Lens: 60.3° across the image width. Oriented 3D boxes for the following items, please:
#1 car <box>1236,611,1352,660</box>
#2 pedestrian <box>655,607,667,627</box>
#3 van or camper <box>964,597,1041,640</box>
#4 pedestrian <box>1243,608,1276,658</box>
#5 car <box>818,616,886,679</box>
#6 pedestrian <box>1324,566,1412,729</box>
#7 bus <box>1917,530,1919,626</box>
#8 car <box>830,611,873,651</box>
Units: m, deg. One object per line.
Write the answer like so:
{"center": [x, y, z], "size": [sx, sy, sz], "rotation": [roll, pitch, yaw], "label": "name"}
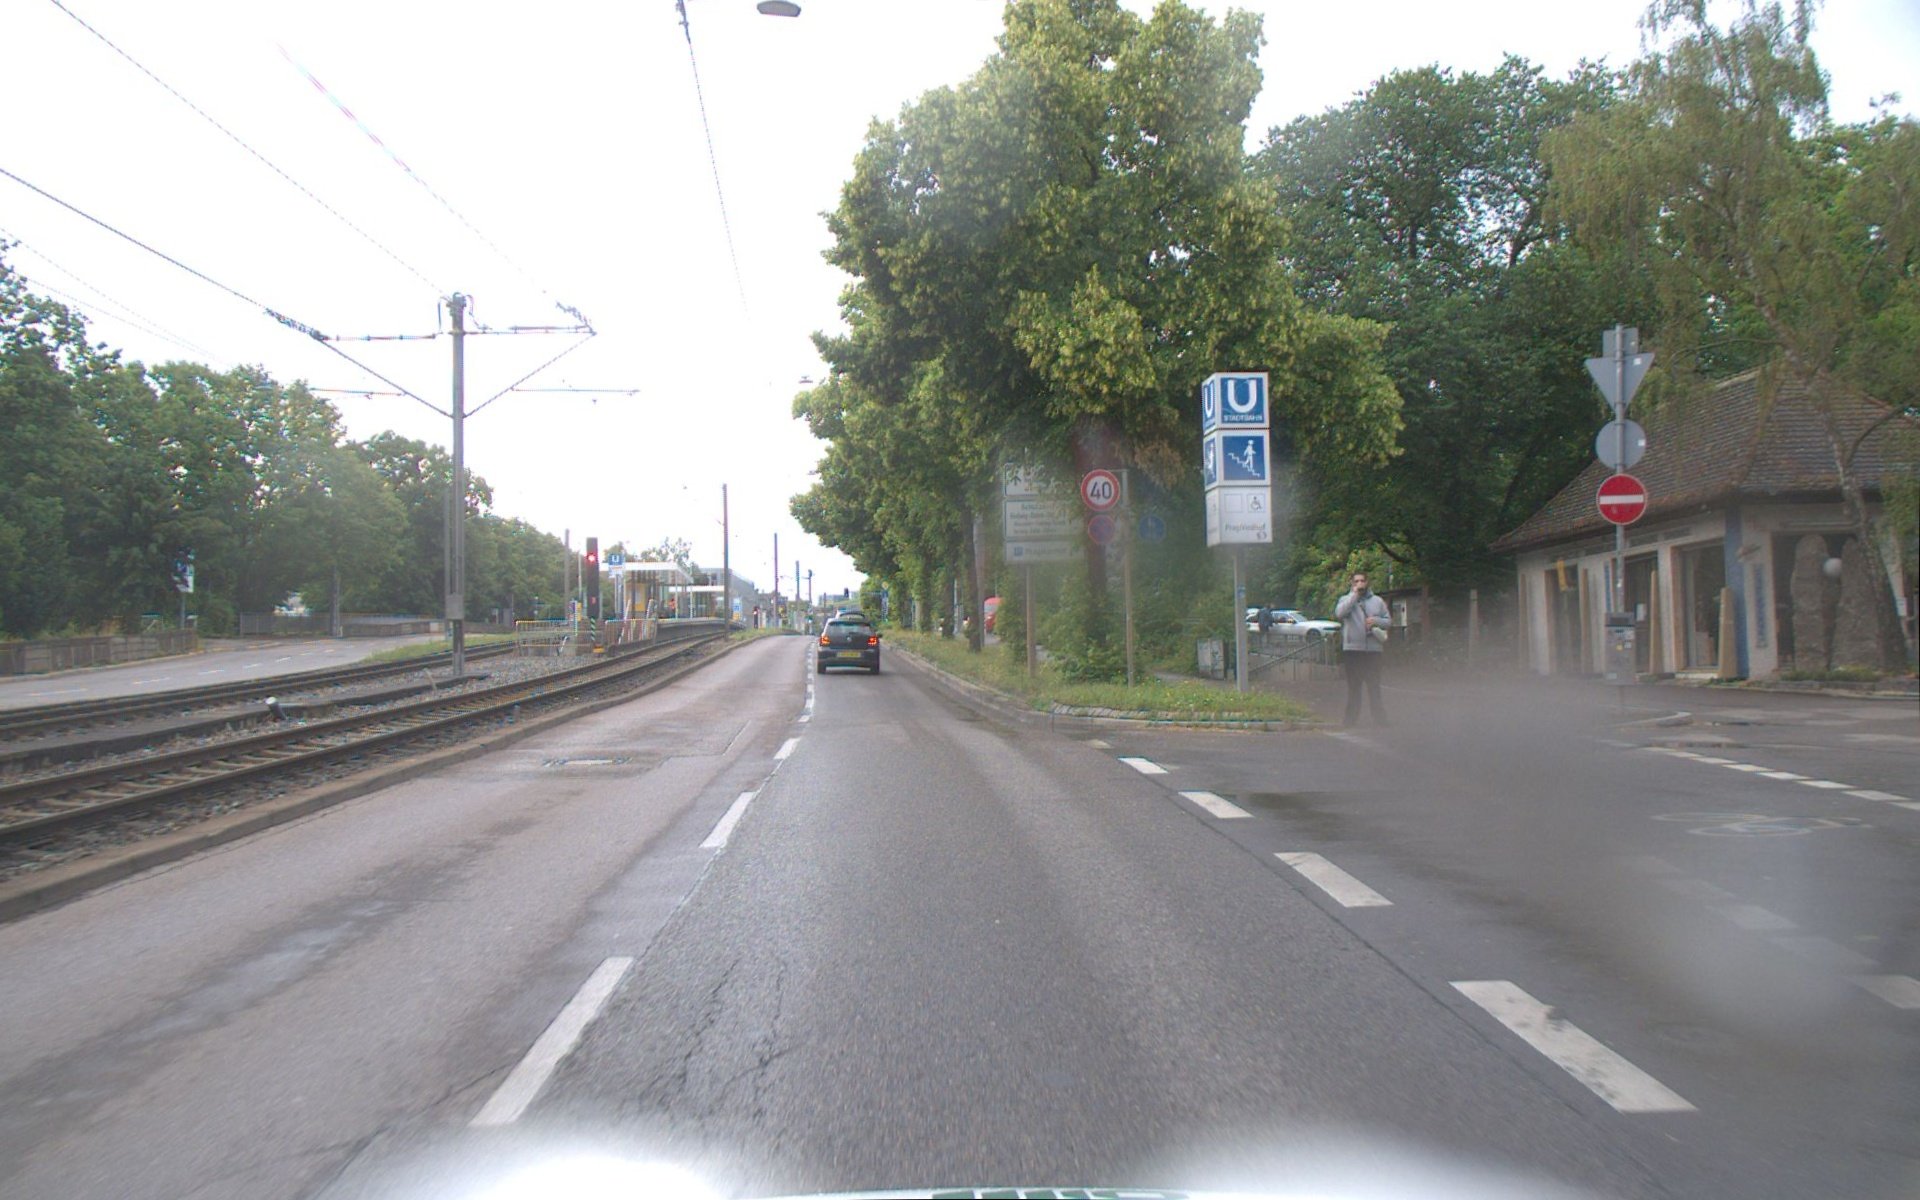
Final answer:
{"center": [13.843, 1.467, 68.657], "size": [1.931, 1.867, 4.395], "rotation": [2, -1, -45], "label": "car"}
{"center": [-19.069, 1.087, 105.583], "size": [0.696, 1.247, 0.619], "rotation": [0, -1, -4], "label": "pedestrian"}
{"center": [2.720, 1.203, 105.433], "size": [2.003, 2.448, 5.366], "rotation": [2, -1, 38], "label": "van or camper"}
{"center": [12.304, 1.336, 67.958], "size": [0.949, 2.049, 0.942], "rotation": [0, -1, -28], "label": "pedestrian"}
{"center": [-2.890, 1.223, 44.156], "size": [1.693, 1.567, 3.996], "rotation": [-1, 0, -4], "label": "car"}
{"center": [4.829, 0.555, 19.608], "size": [0.837, 1.886, 0.737], "rotation": [0, -1, -1], "label": "pedestrian"}
{"center": [28.833, -0.691, 44.260], "size": [2.206, 2.748, 7.166], "rotation": [-1, -1, -1], "label": "bus"}
{"center": [-4.362, 1.233, 66.346], "size": [1.654, 1.544, 3.996], "rotation": [-1, 0, -4], "label": "car"}
